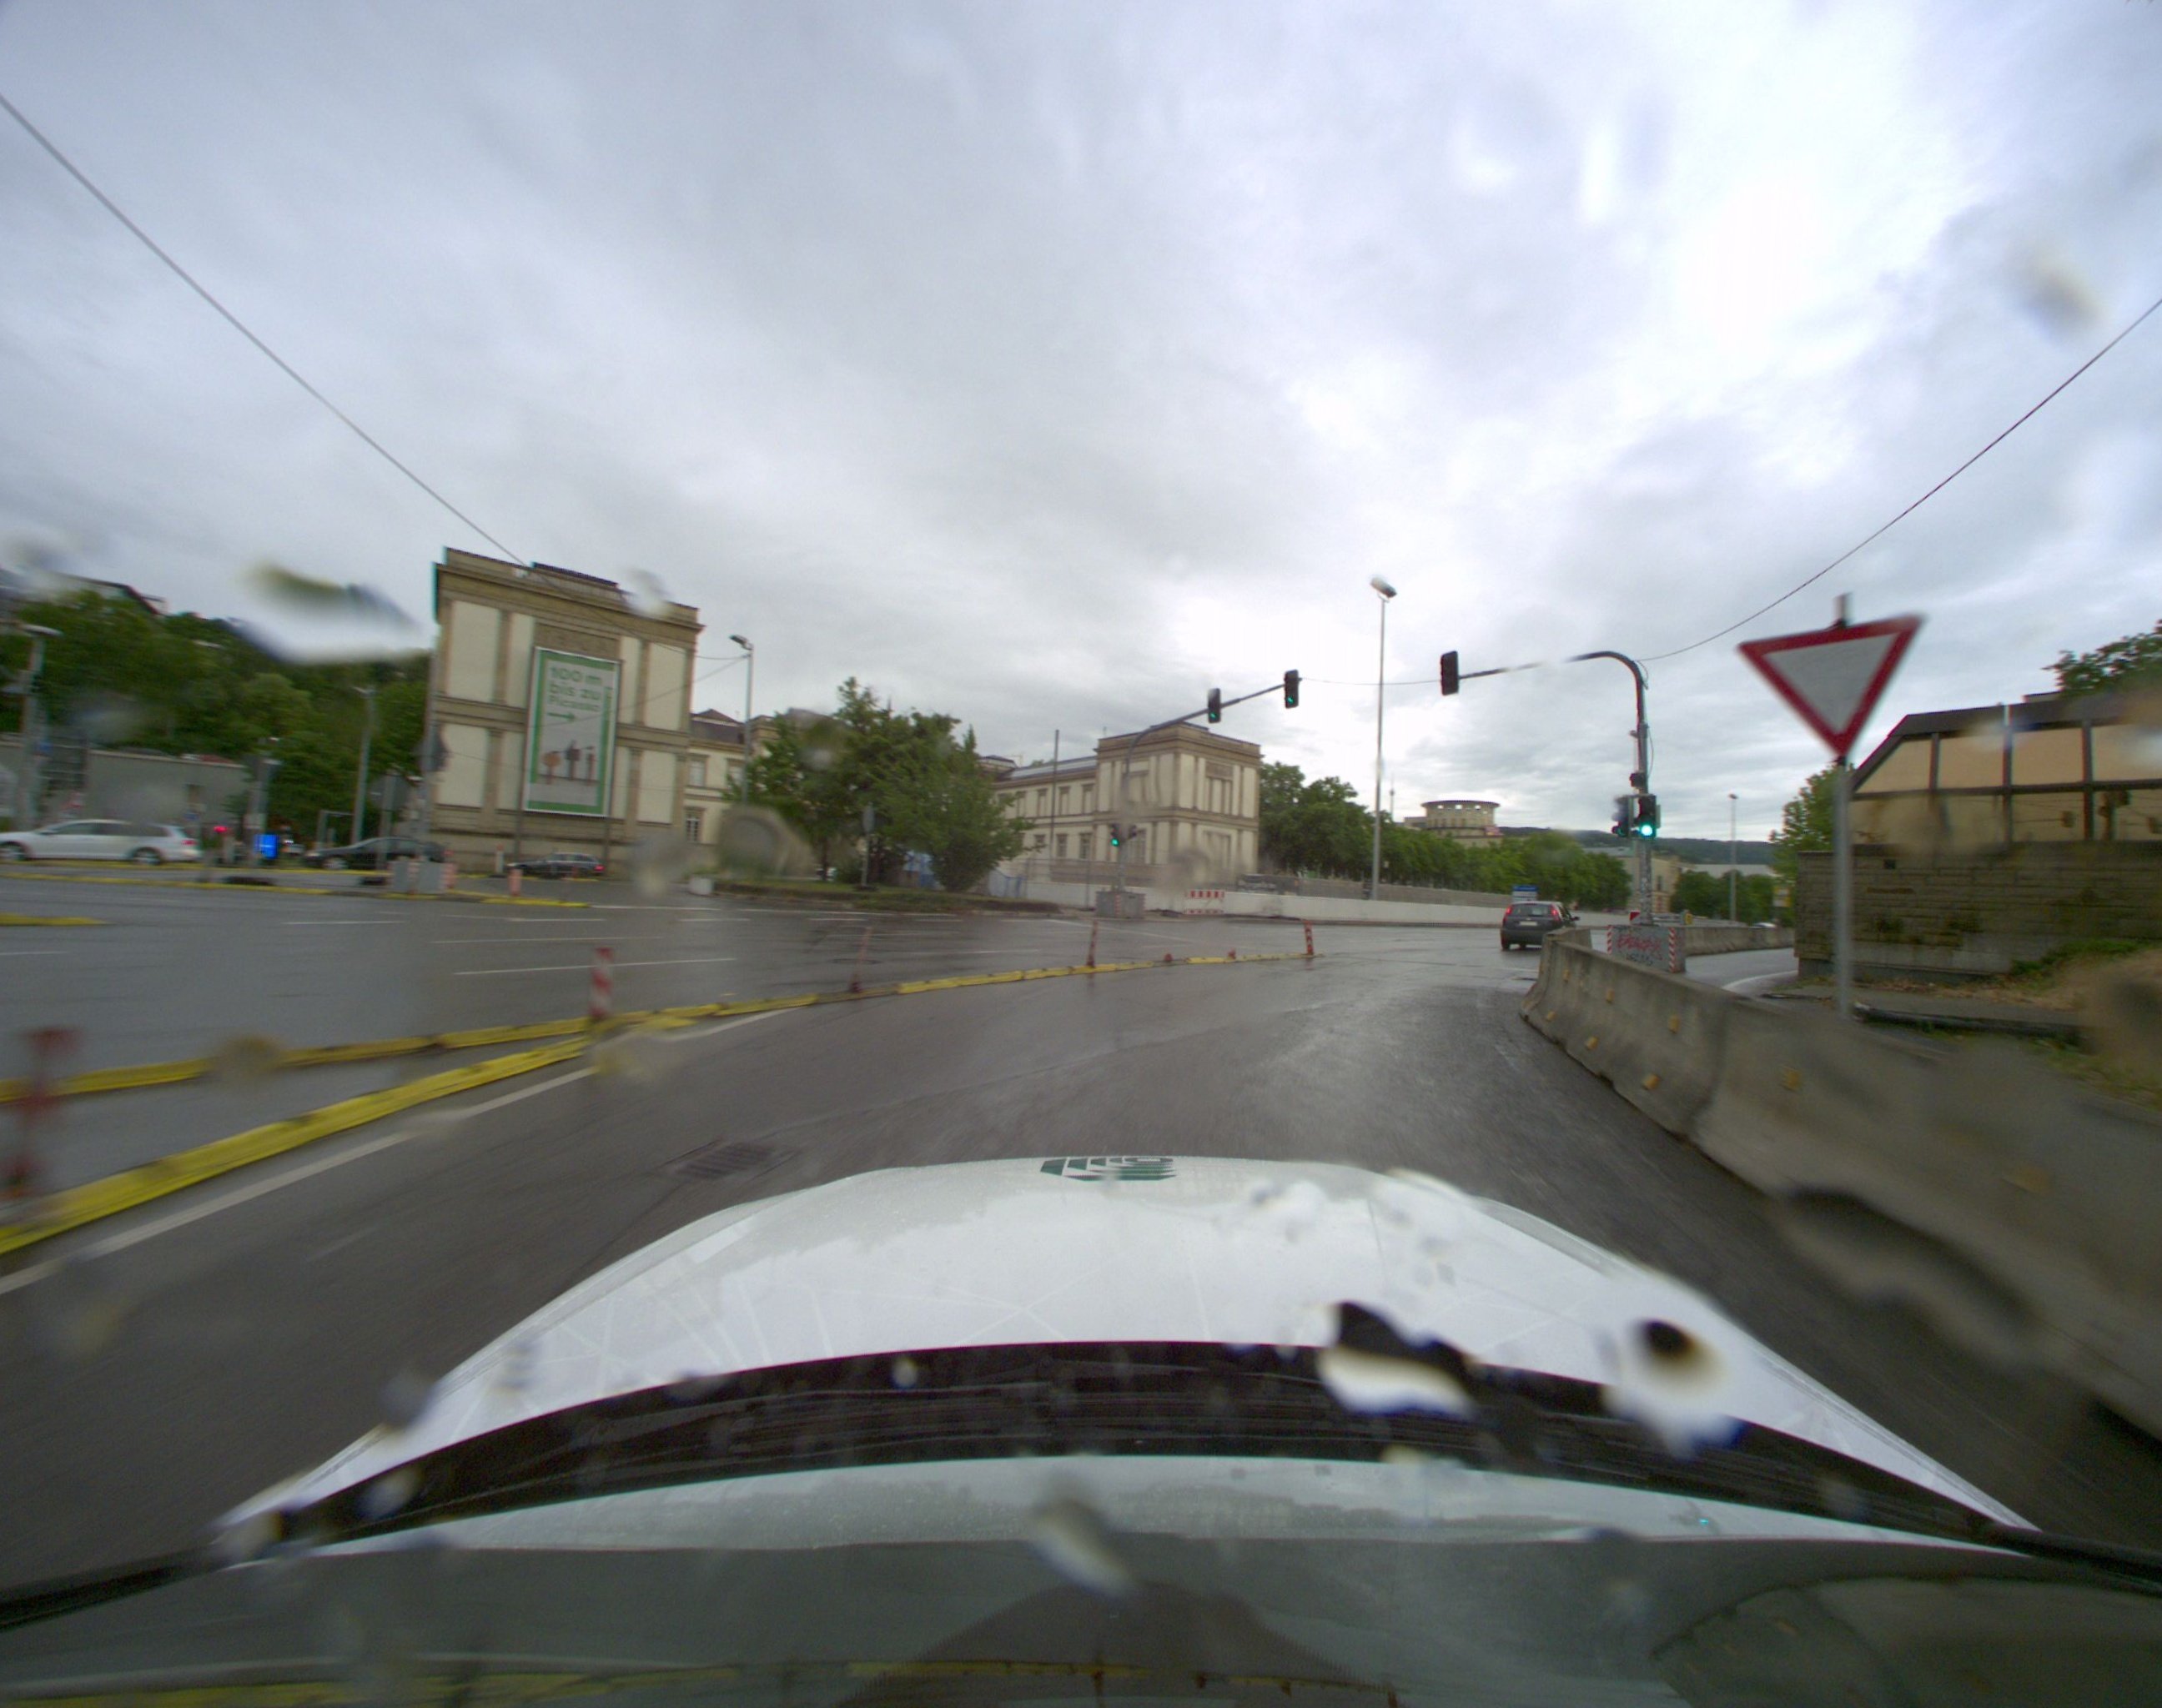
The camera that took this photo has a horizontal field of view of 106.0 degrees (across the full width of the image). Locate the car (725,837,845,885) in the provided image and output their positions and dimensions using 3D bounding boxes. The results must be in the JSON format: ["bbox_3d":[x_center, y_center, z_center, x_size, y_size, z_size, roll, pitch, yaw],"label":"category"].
[{"bbox_3d":[-16.231,0.437,44.955,2.341,2.174,5.716,4,-2,36],"label":"car"}]

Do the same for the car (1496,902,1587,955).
[{"bbox_3d":[13.672,2.198,24.081,1.654,1.428,3.779,-3,-6,40],"label":"car"}]

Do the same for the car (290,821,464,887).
[{"bbox_3d":[-26.436,0.023,30.757,4.714,2.014,1.976,7,-3,-42],"label":"car"}]

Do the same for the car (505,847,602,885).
[{"bbox_3d":[-29.071,0.695,44.925,4.213,1.701,1.802,6,-2,-38],"label":"car"}]

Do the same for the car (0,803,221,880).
[{"bbox_3d":[-31.303,-0.364,26.212,4.665,2.014,1.976,7,-3,-42],"label":"car"}]
